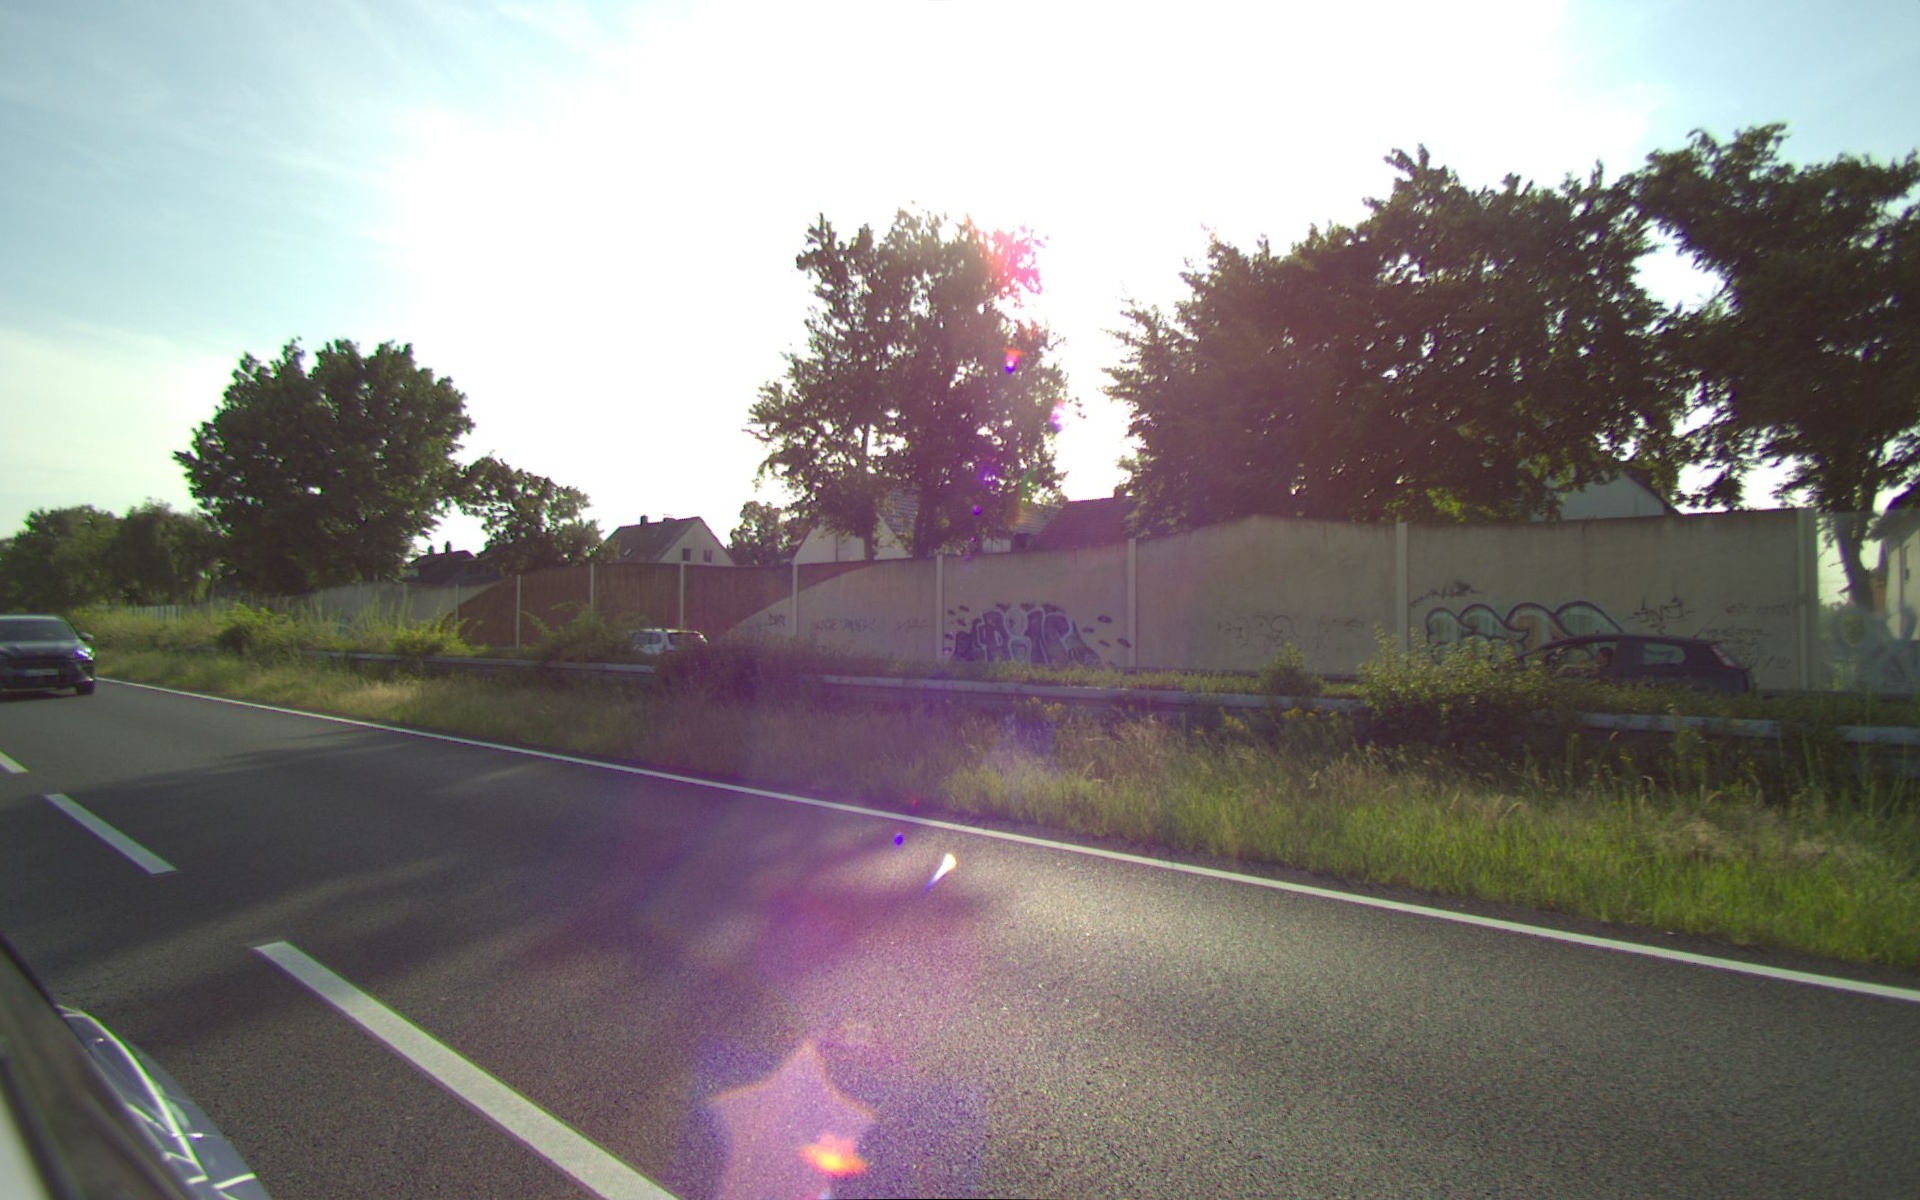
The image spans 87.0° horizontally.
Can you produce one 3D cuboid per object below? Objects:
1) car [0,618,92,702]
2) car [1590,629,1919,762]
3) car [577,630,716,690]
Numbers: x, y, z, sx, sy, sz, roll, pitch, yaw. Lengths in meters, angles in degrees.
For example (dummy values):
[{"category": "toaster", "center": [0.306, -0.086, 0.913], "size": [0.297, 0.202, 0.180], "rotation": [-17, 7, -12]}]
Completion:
[{"category": "car", "center": [-19.109, 1.161, 20.444], "size": [4.244, 1.536, 1.798], "rotation": [-1, 0, 41]}, {"category": "car", "center": [10.050, 1.088, 12.531], "size": [3.605, 1.389, 1.656], "rotation": [-1, 0, 41]}, {"category": "car", "center": [-8.647, 1.587, 27.768], "size": [3.996, 1.453, 1.737], "rotation": [-1, 0, 40]}]
